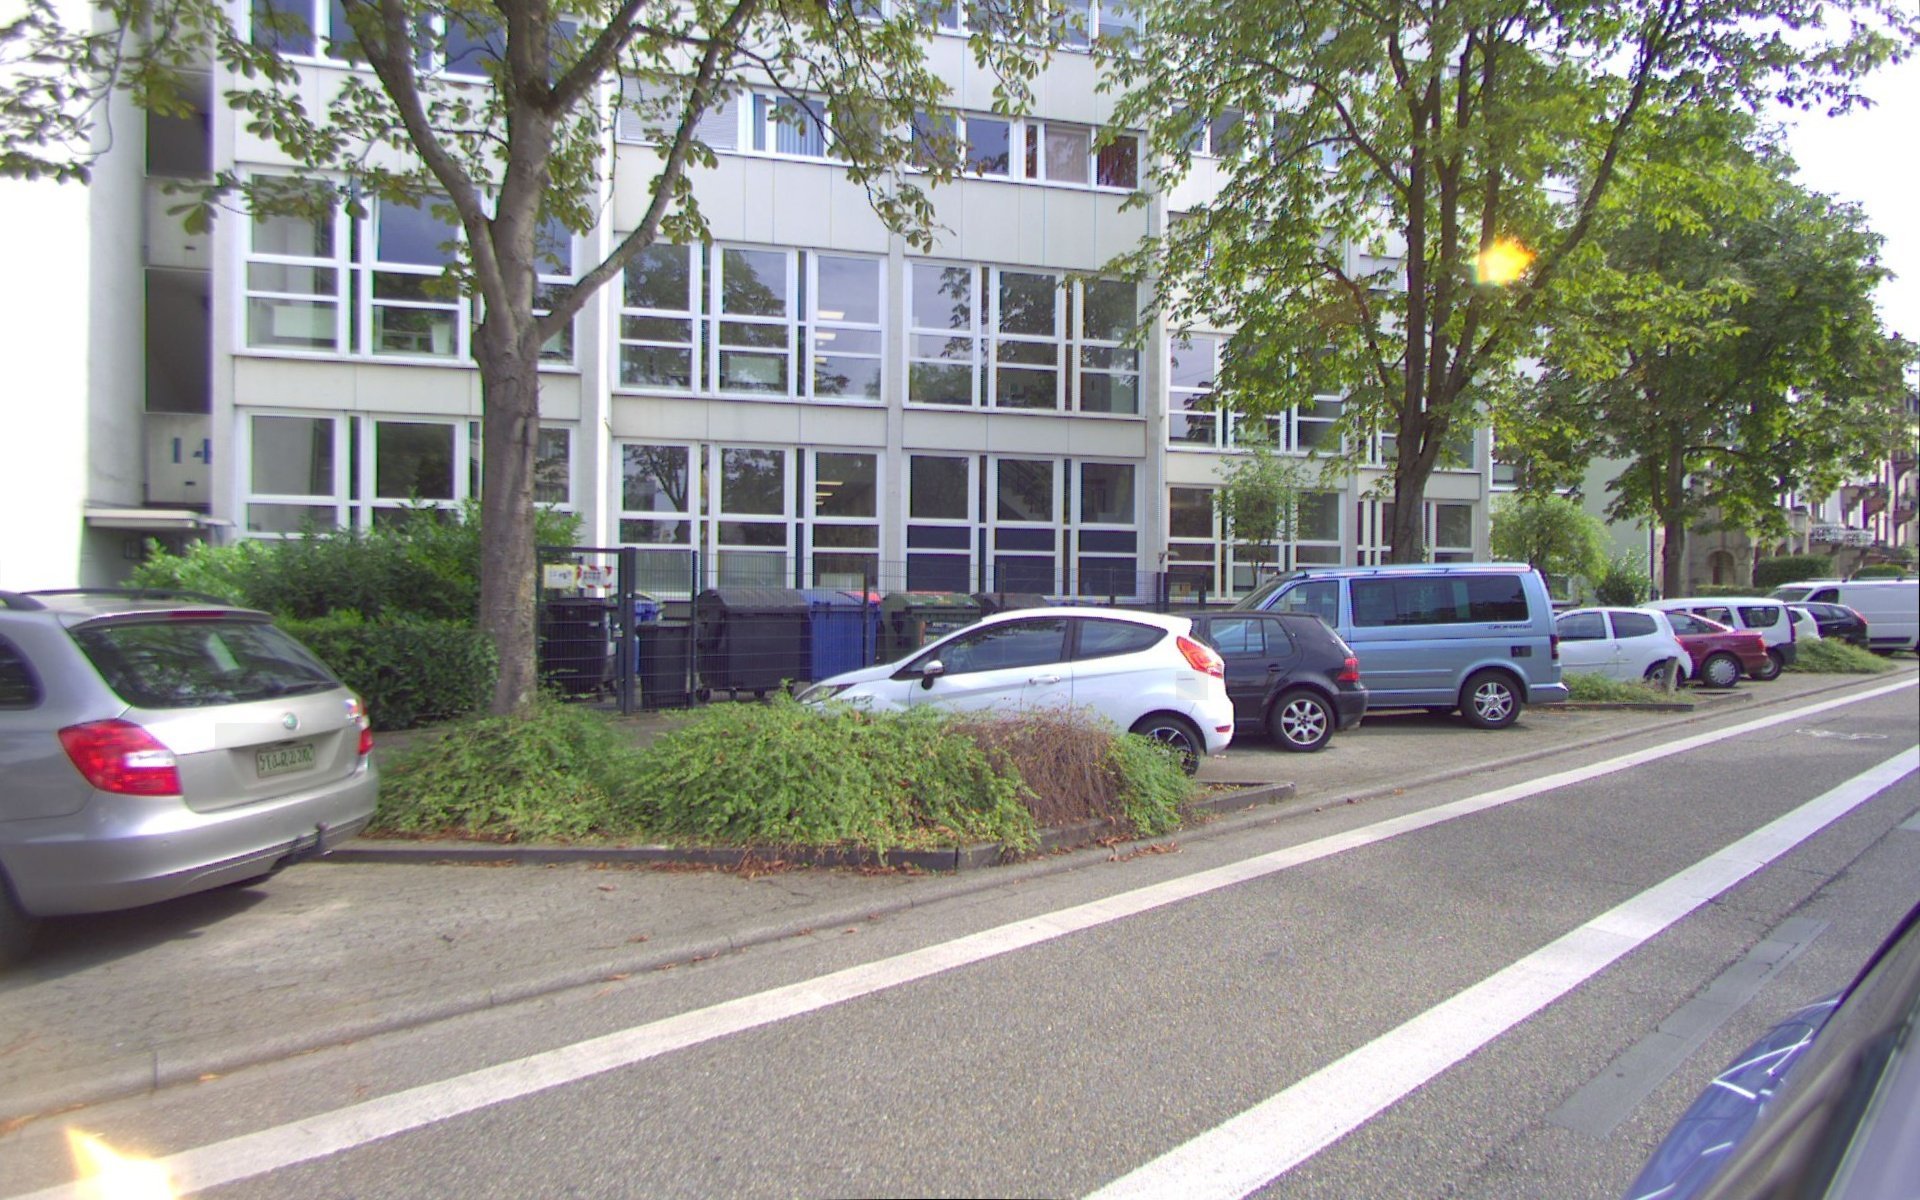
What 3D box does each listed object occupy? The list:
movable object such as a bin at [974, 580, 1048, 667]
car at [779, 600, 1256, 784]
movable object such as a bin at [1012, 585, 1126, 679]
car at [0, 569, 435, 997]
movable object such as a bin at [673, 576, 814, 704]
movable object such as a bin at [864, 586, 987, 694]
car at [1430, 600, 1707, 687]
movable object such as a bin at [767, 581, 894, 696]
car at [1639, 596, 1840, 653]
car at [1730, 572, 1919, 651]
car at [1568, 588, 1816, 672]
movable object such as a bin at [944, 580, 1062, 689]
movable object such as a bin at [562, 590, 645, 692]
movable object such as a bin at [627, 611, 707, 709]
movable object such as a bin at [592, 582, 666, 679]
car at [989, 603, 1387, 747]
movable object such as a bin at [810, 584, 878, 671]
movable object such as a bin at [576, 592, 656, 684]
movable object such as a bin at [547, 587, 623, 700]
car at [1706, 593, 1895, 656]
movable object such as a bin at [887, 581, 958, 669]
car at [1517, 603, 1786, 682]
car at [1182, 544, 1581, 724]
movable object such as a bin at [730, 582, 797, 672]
[{"bbox_3d":[0.952,0.432,19.232,1.150,1.588,1.182,0,0,-11],"label":"movable object such as a bin"},{"bbox_3d":[0.476,0.718,8.870,3.793,1.410,1.632,0,0,5],"label":"car"},{"bbox_3d":[1.813,0.501,16.965,1.373,1.477,1.335,0,0,-35],"label":"movable object such as a bin"},{"bbox_3d":[-4.782,0.665,4.674,3.981,1.557,1.593,0,0,5],"label":"car"},{"bbox_3d":[-2.843,0.480,13.243,1.389,1.549,1.330,0,0,-35],"label":"movable object such as a bin"},{"bbox_3d":[-0.519,0.552,15.116,1.328,1.521,1.335,0,0,-35],"label":"movable object such as a bin"},{"bbox_3d":[10.142,0.694,17.103,3.581,1.347,1.765,0,1,5],"label":"car"},{"bbox_3d":[-1.838,0.500,14.256,1.312,1.523,1.335,0,0,-35],"label":"movable object such as a bin"},{"bbox_3d":[19.392,0.577,25.315,3.581,1.347,1.765,0,1,5],"label":"car"},{"bbox_3d":[25.991,0.304,29.391,5.350,2.203,2.143,0,0,10],"label":"car"},{"bbox_3d":[14.949,0.570,20.877,3.708,1.638,1.810,0,1,10],"label":"car"},{"bbox_3d":[0.665,0.503,15.955,1.328,1.616,1.335,0,0,-35],"label":"movable object such as a bin"},{"bbox_3d":[-5.162,0.567,14.717,1.095,1.409,1.065,0,0,-18],"label":"movable object such as a bin"},{"bbox_3d":[-3.553,0.697,12.267,0.729,1.119,0.787,0,0,-33],"label":"movable object such as a bin"},{"bbox_3d":[-5.677,0.499,17.386,1.155,1.588,1.177,0,0,-18],"label":"movable object such as a bin"},{"bbox_3d":[2.312,0.754,11.022,3.903,1.405,1.811,0,-1,5],"label":"car"},{"bbox_3d":[-2.145,0.477,18.576,1.150,1.533,1.182,0,0,-11],"label":"movable object such as a bin"},{"bbox_3d":[-5.431,0.571,16.029,1.155,1.387,1.177,0,0,-18],"label":"movable object such as a bin"},{"bbox_3d":[-4.944,0.547,13.400,0.893,1.425,1.026,0,0,-18],"label":"movable object such as a bin"},{"bbox_3d":[22.769,0.626,27.603,3.606,1.609,1.753,0,1,25],"label":"car"},{"bbox_3d":[-0.722,0.448,18.952,1.150,1.588,1.182,0,0,-11],"label":"movable object such as a bin"},{"bbox_3d":[12.805,0.747,18.968,3.708,1.355,1.810,0,1,10],"label":"car"},{"bbox_3d":[5.145,0.378,12.920,4.269,2.090,1.997,0,0,5],"label":"car"},{"bbox_3d":[-3.580,0.474,18.453,1.150,1.588,1.182,0,0,-11],"label":"movable object such as a bin"}]
